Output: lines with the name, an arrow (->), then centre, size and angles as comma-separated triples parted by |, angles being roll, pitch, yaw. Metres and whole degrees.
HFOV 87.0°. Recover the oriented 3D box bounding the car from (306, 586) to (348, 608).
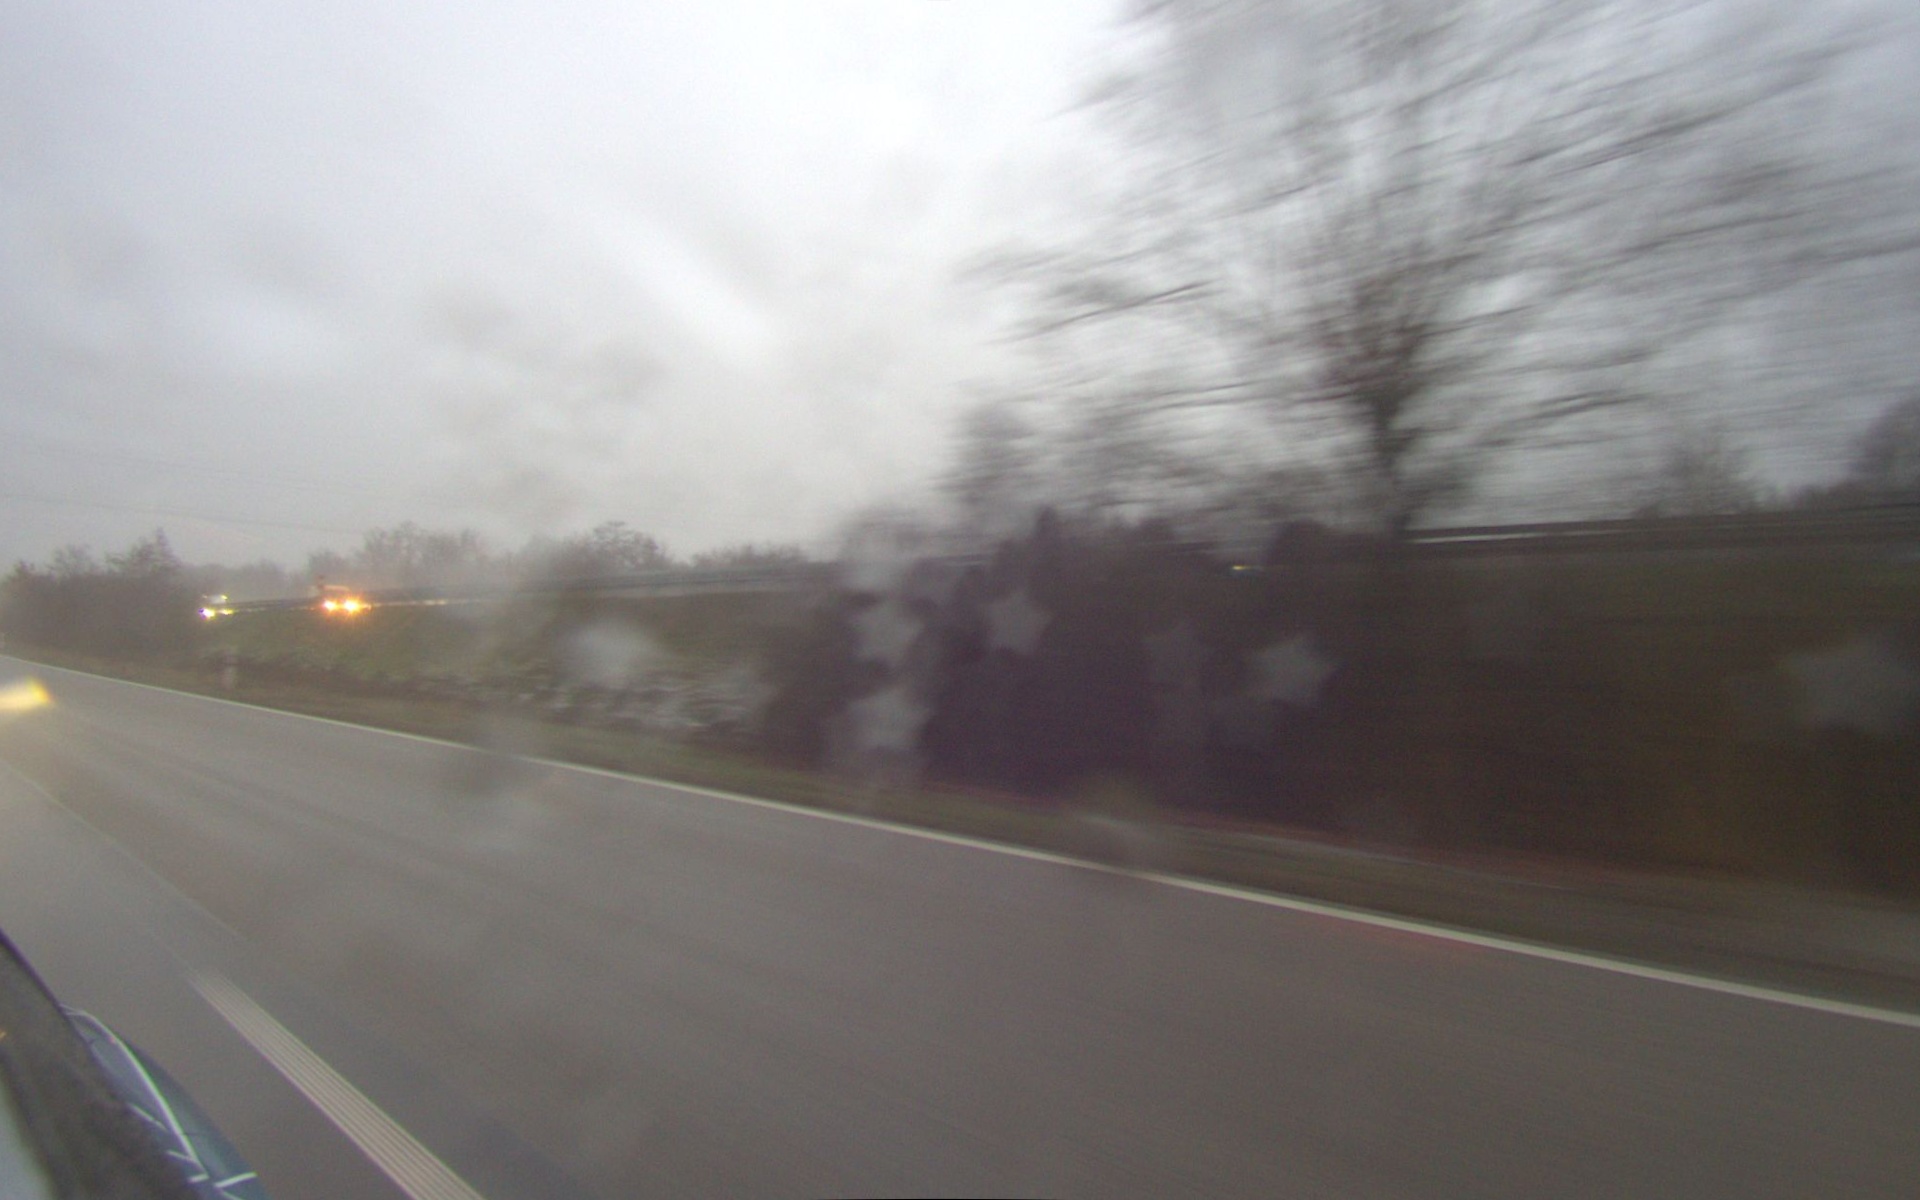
car -> -50.685, -0.234, 81.018 | 4.108, 1.725, 1.704 | -1, -1, 41
